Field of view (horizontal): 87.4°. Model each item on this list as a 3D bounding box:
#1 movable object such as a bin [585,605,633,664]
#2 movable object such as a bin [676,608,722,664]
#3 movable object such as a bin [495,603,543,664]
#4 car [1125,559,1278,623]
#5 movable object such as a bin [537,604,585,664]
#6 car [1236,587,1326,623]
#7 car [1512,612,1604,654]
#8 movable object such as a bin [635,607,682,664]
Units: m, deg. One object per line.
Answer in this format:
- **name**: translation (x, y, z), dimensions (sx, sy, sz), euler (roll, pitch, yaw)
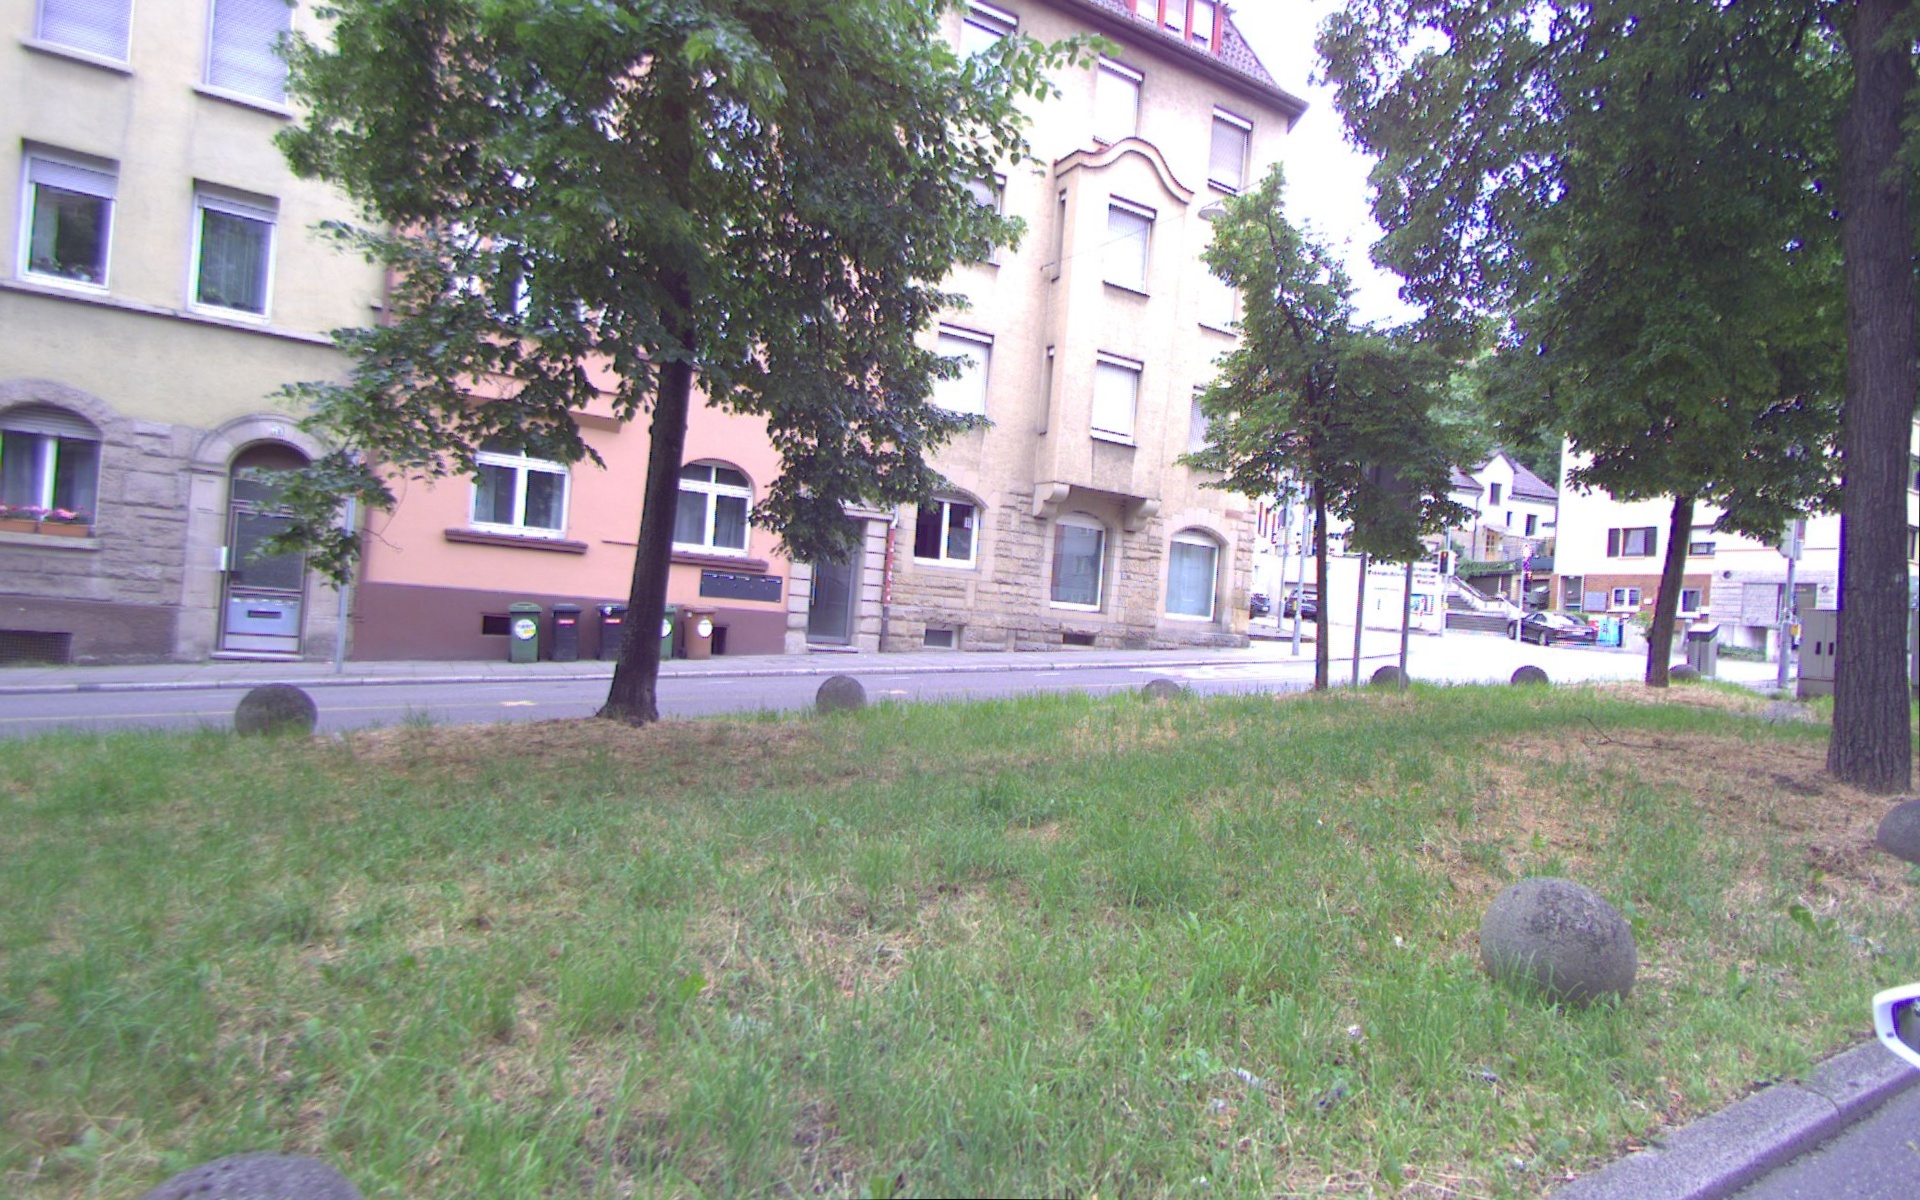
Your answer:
- **movable object such as a bin**: translation (-5.799, 0.564, 16.591), dimensions (0.595, 0.916, 0.605), euler (1, 2, -33)
- **movable object such as a bin**: translation (-4.506, 0.607, 17.349), dimensions (0.595, 0.916, 0.605), euler (1, 2, -33)
- **movable object such as a bin**: translation (-6.982, 0.519, 15.900), dimensions (0.595, 0.916, 0.605), euler (1, 2, -33)
- **car**: translation (8.892, -0.374, 37.229), dimensions (5.103, 2.092, 1.987), euler (4, 2, 38)
- **movable object such as a bin**: translation (-6.440, 0.542, 16.218), dimensions (0.595, 0.916, 0.605), euler (1, 2, -33)
- **car**: translation (15.145, 0.228, 47.429), dimensions (3.920, 1.530, 1.800), euler (2, 1, 17)
- **car**: translation (26.312, 1.427, 44.369), dimensions (1.845, 1.687, 4.002), euler (3, -1, 4)
- **movable object such as a bin**: translation (-5.115, 0.588, 17.023), dimensions (0.595, 0.916, 0.605), euler (1, 2, -33)
